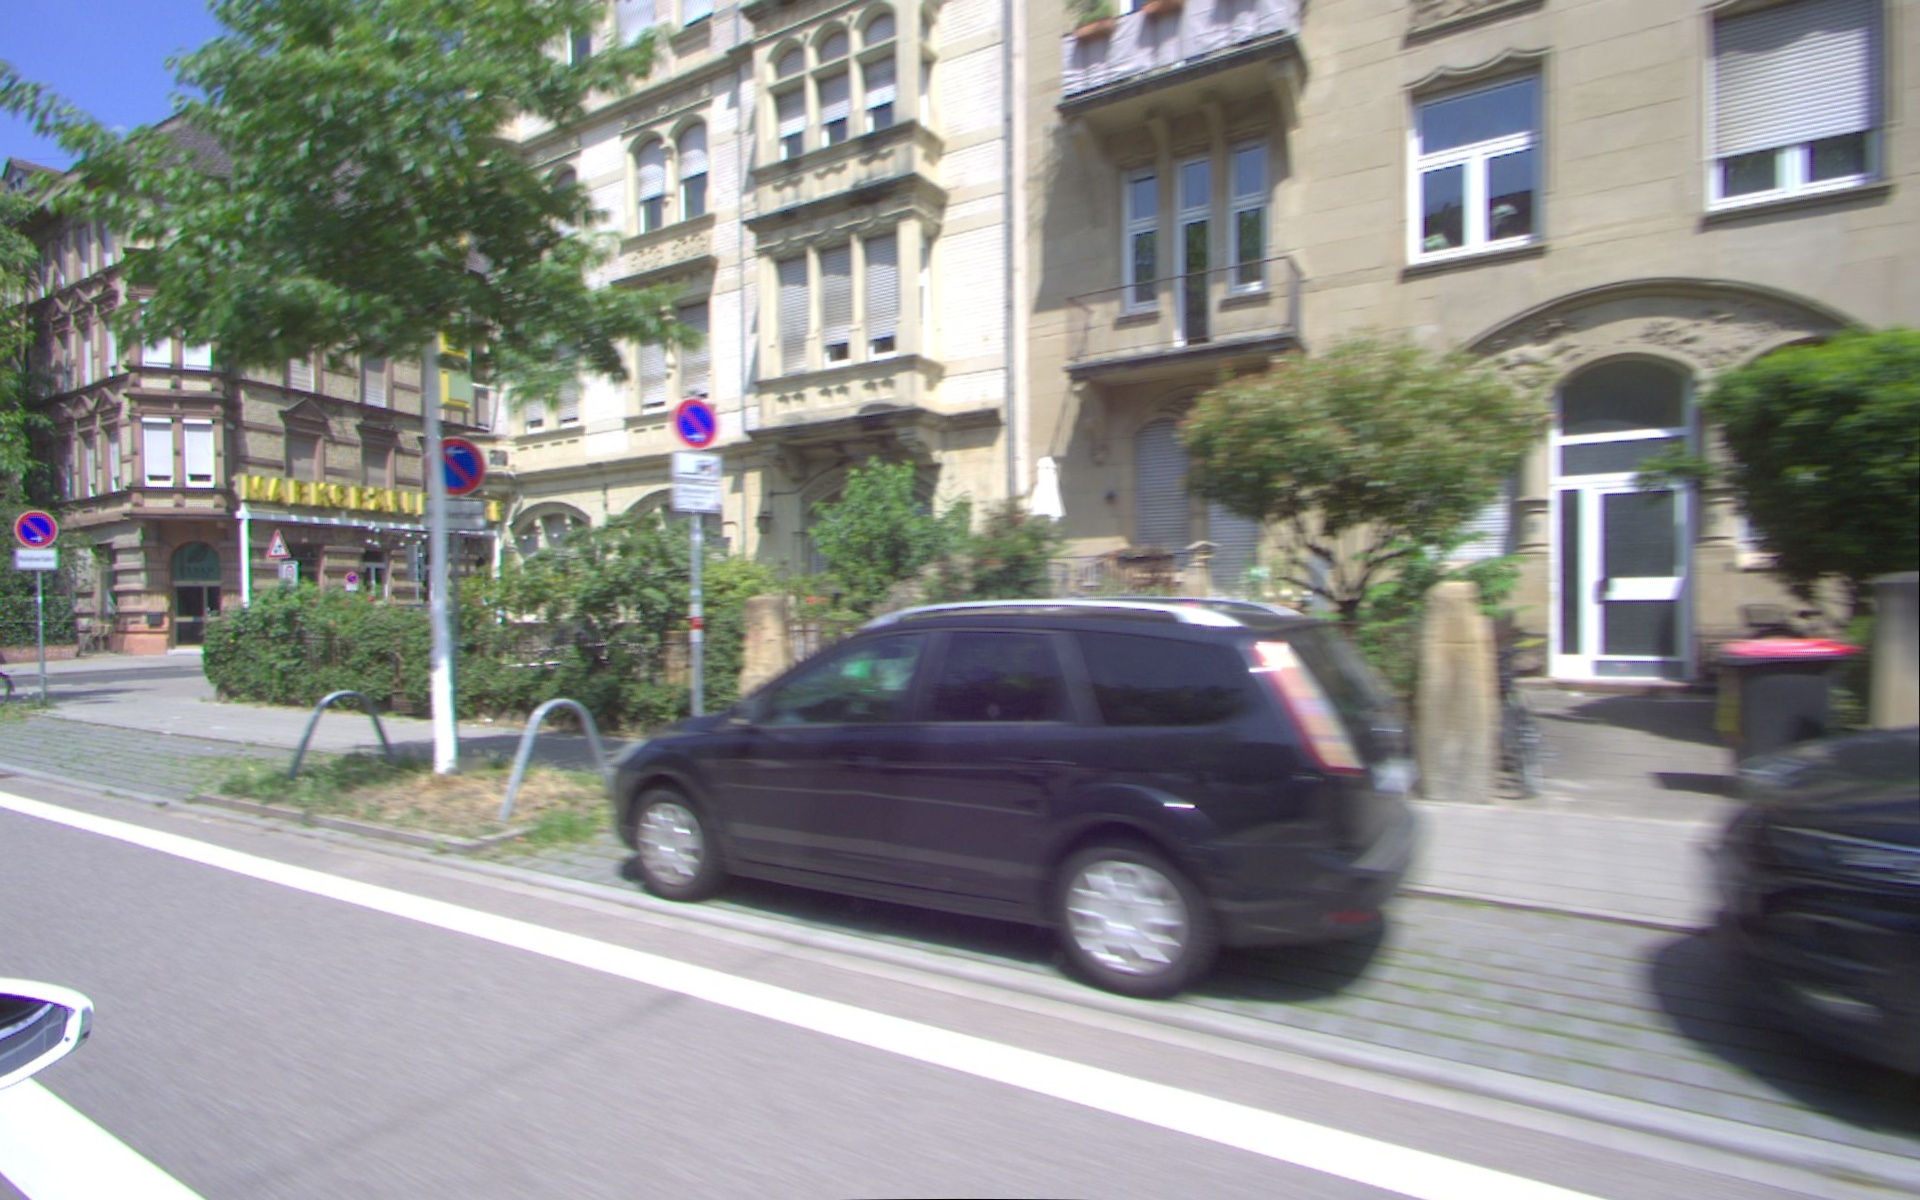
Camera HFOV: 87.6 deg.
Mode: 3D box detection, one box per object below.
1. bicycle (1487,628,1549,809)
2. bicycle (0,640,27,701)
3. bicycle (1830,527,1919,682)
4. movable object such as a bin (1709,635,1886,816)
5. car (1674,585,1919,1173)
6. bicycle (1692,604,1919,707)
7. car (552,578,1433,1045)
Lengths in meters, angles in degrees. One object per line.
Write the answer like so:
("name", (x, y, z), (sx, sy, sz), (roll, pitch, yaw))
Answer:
("bicycle", (4.301, 0.839, 7.679), (0.338, 1.091, 1.684), (0, 4, 32))
("bicycle", (-15.969, 1.146, 15.749), (0.496, 0.966, 1.838), (0, 0, 33))
("bicycle", (9.205, 0.035, 8.517), (2.651, 1.350, 0.563), (0, 1, 31))
("movable object such as a bin", (5.730, 0.821, 6.913), (0.818, 1.084, 0.800), (0, 3, 32))
("car", (4.311, 0.727, 2.519), (3.954, 1.551, 1.664), (0, 0, 31))
("bicycle", (9.171, 0.550, 10.194), (2.719, 0.999, 0.582), (-1, 0, 31))
("car", (-0.008, 0.739, 5.225), (4.340, 1.556, 1.726), (-1, -1, 32))
